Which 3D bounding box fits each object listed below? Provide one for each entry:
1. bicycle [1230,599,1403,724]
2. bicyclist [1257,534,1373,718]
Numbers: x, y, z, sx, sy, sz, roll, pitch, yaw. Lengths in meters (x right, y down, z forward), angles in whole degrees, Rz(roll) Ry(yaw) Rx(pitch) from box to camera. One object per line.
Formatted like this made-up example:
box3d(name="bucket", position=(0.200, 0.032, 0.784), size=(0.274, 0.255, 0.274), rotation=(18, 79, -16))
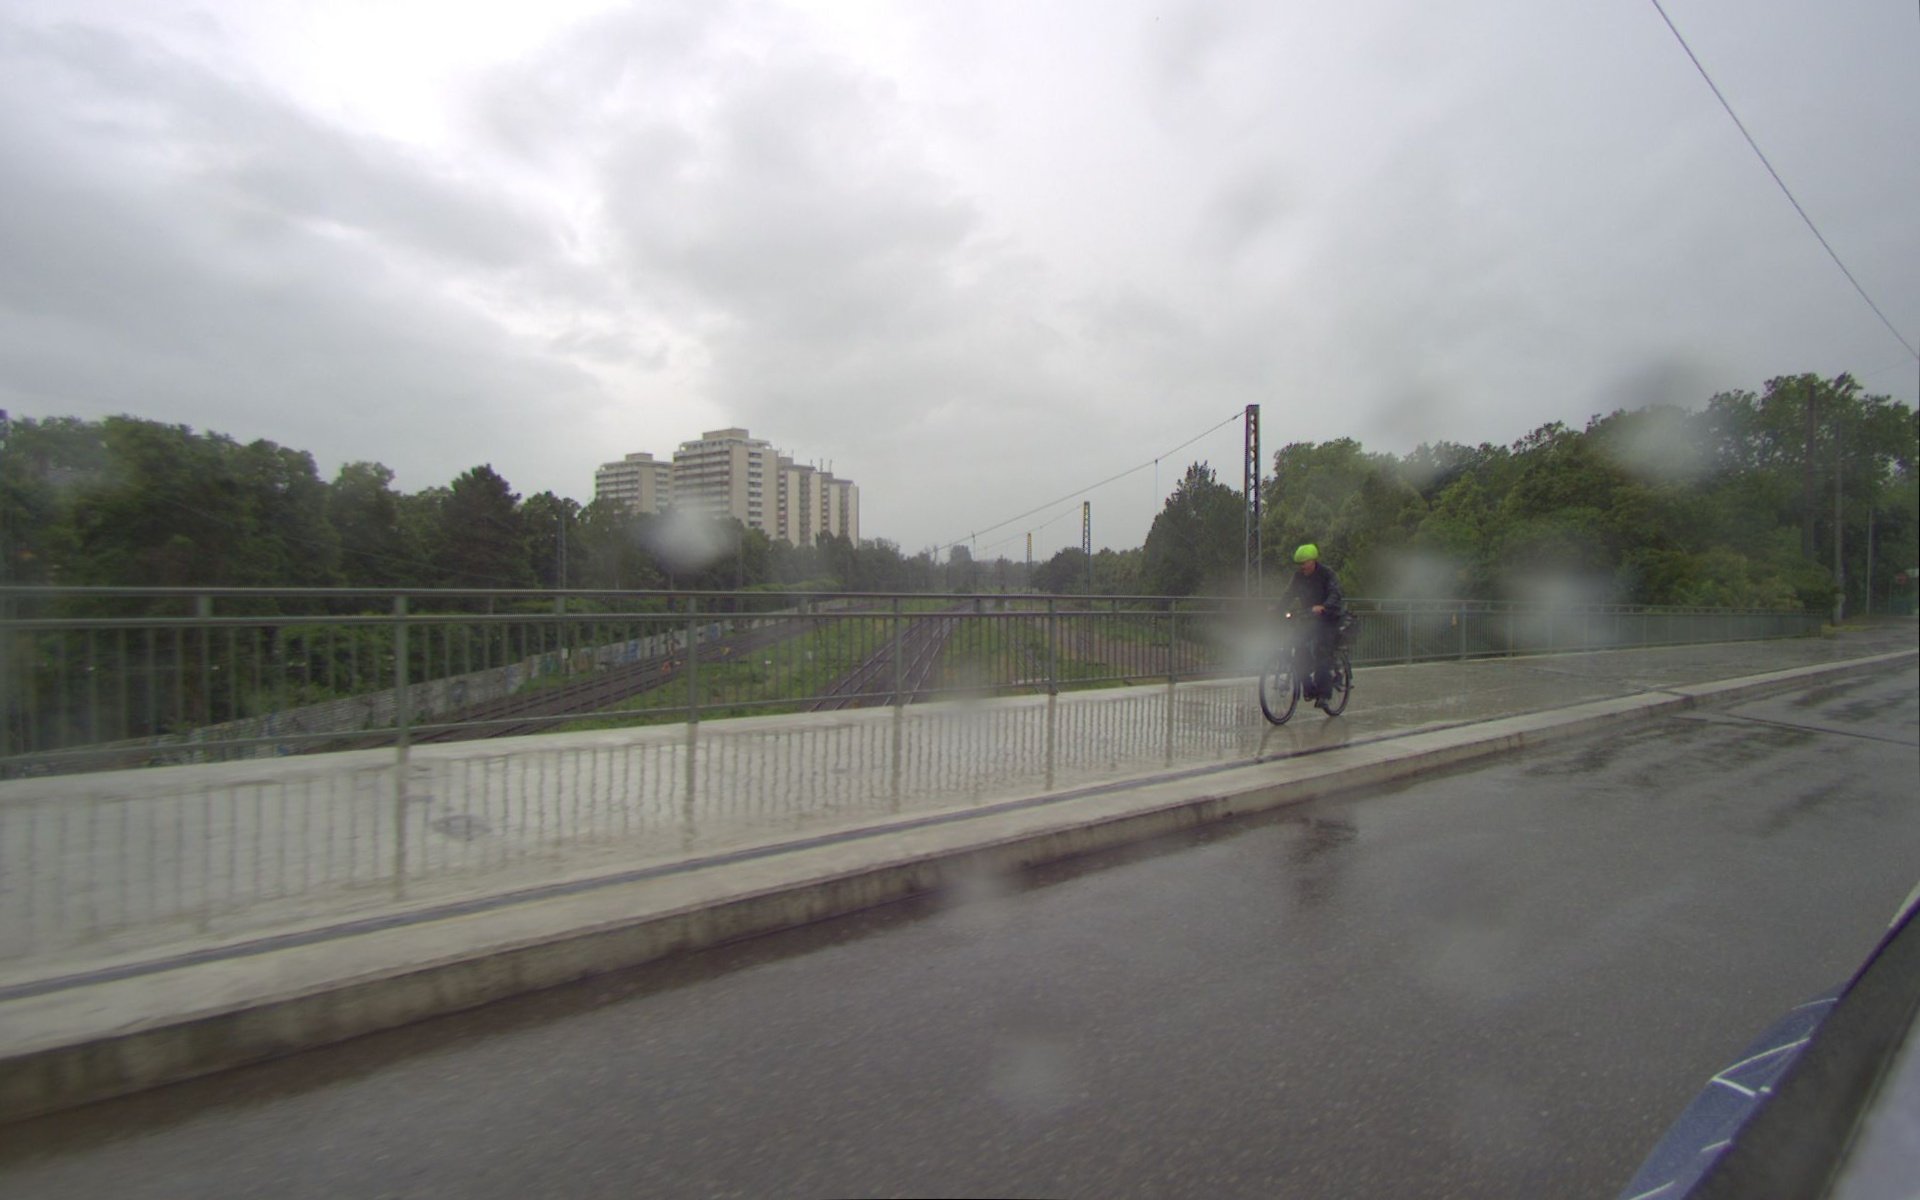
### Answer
box3d(name="bicycle", position=(3.735, 0.581, 10.498), size=(2.130, 1.143, 0.724), rotation=(-1, 0, -41))
box3d(name="bicyclist", position=(3.654, 0.240, 10.423), size=(0.933, 1.786, 0.727), rotation=(-2, 0, -40))
